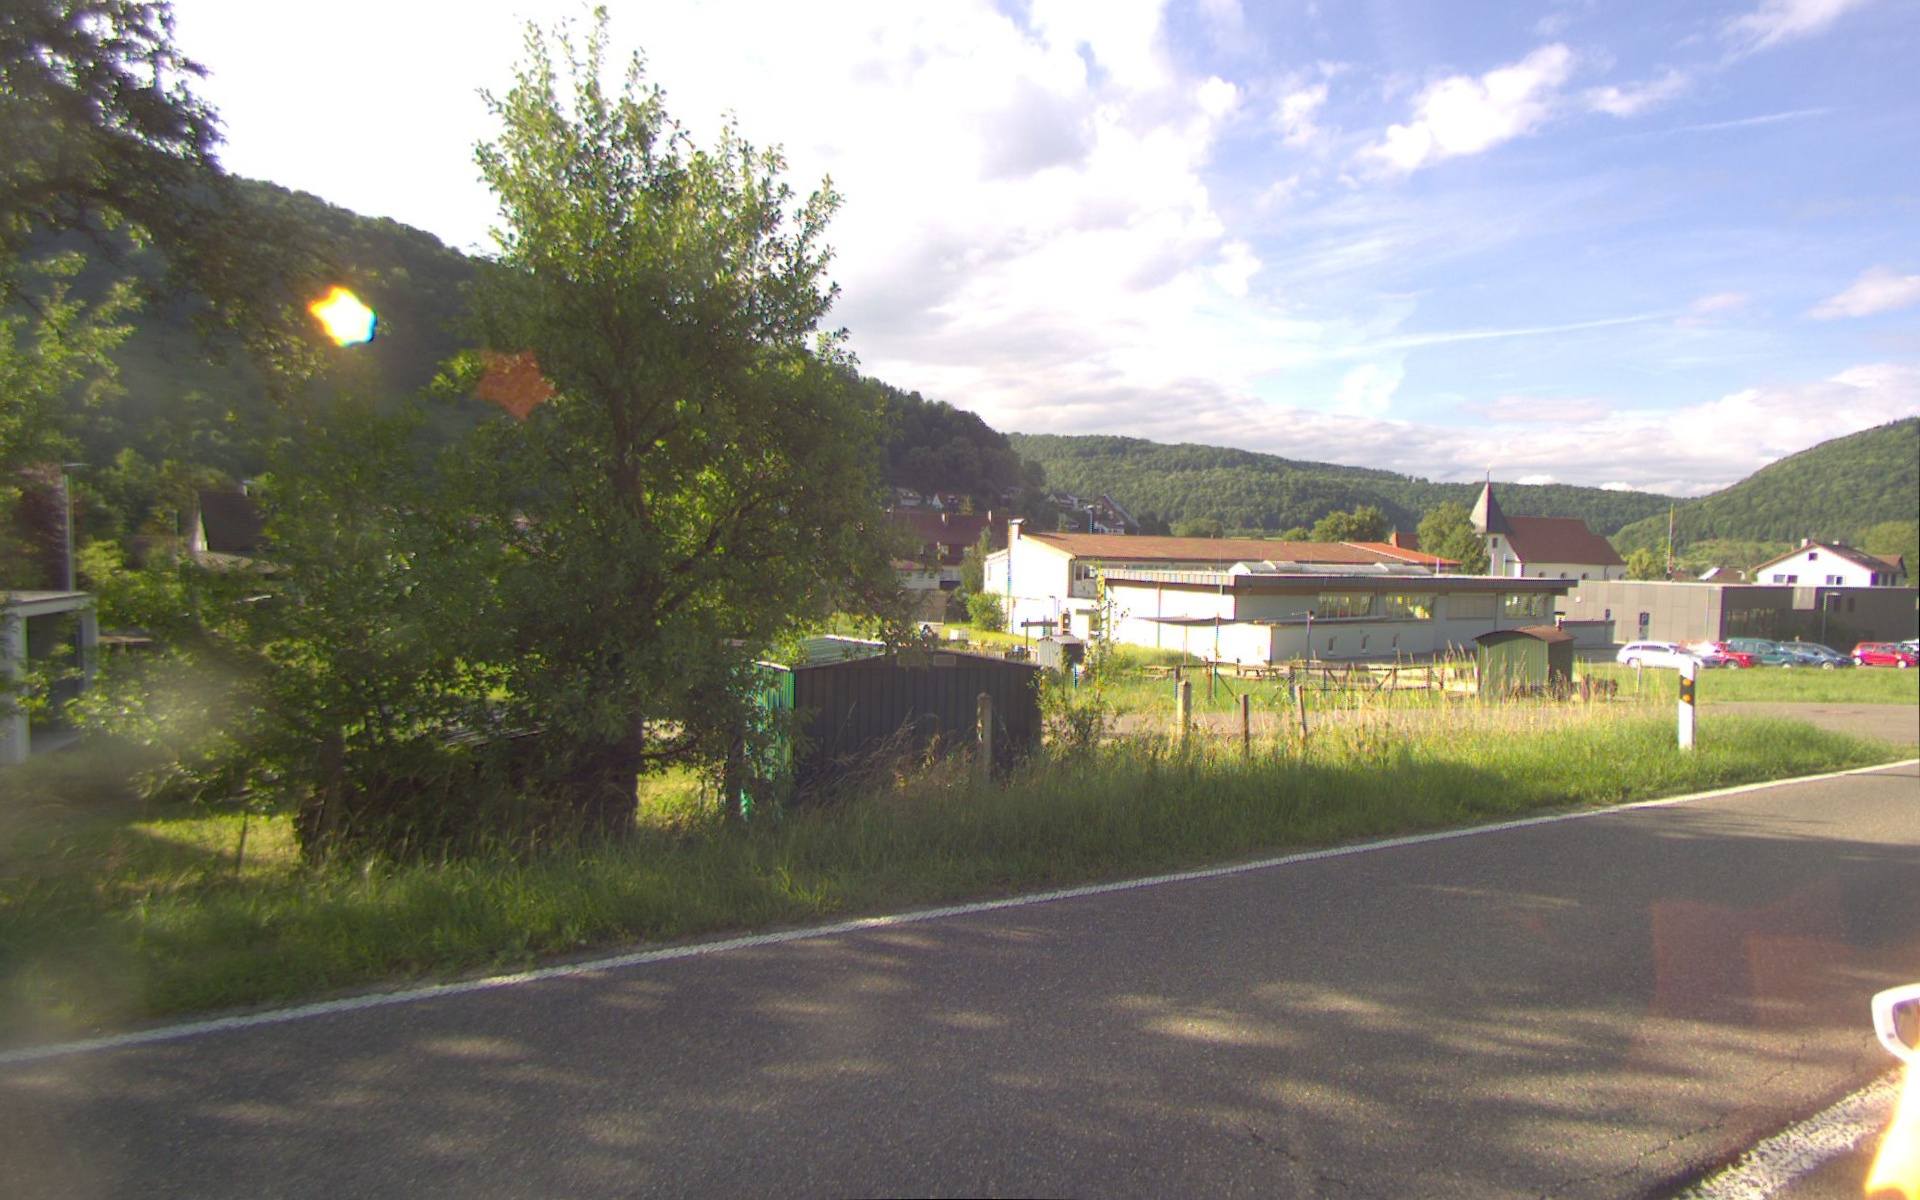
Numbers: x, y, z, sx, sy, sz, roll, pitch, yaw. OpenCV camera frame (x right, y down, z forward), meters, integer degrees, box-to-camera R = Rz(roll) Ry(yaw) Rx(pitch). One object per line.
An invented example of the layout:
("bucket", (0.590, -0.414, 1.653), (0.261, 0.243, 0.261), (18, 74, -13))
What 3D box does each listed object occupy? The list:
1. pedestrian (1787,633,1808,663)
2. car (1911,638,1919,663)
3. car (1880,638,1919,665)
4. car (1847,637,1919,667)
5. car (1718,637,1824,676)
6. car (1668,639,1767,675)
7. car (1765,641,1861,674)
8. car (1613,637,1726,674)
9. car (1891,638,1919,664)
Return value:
("pedestrian", (59.865, 3.422, 71.810), (0.962, 2.040, 0.821), (2, 0, -30))
("car", (70.163, 3.678, 70.965), (1.978, 1.733, 3.965), (2, 0, -32))
("car", (64.443, 3.478, 67.143), (1.978, 1.733, 3.965), (2, 0, -32))
("car", (60.432, 3.342, 65.114), (1.978, 1.733, 3.965), (2, 0, -32))
("car", (47.293, 3.251, 58.664), (1.978, 2.034, 4.382), (2, 0, -32))
("car", (42.200, 3.147, 56.014), (1.978, 1.733, 3.965), (2, 0, -32))
("car", (51.347, 3.457, 60.519), (1.978, 1.733, 3.965), (2, 0, -32))
("car", (39.099, 3.048, 55.486), (1.978, 1.733, 4.705), (2, 0, -32))
("car", (67.322, 3.581, 69.400), (1.978, 1.733, 3.965), (2, 0, -32))
